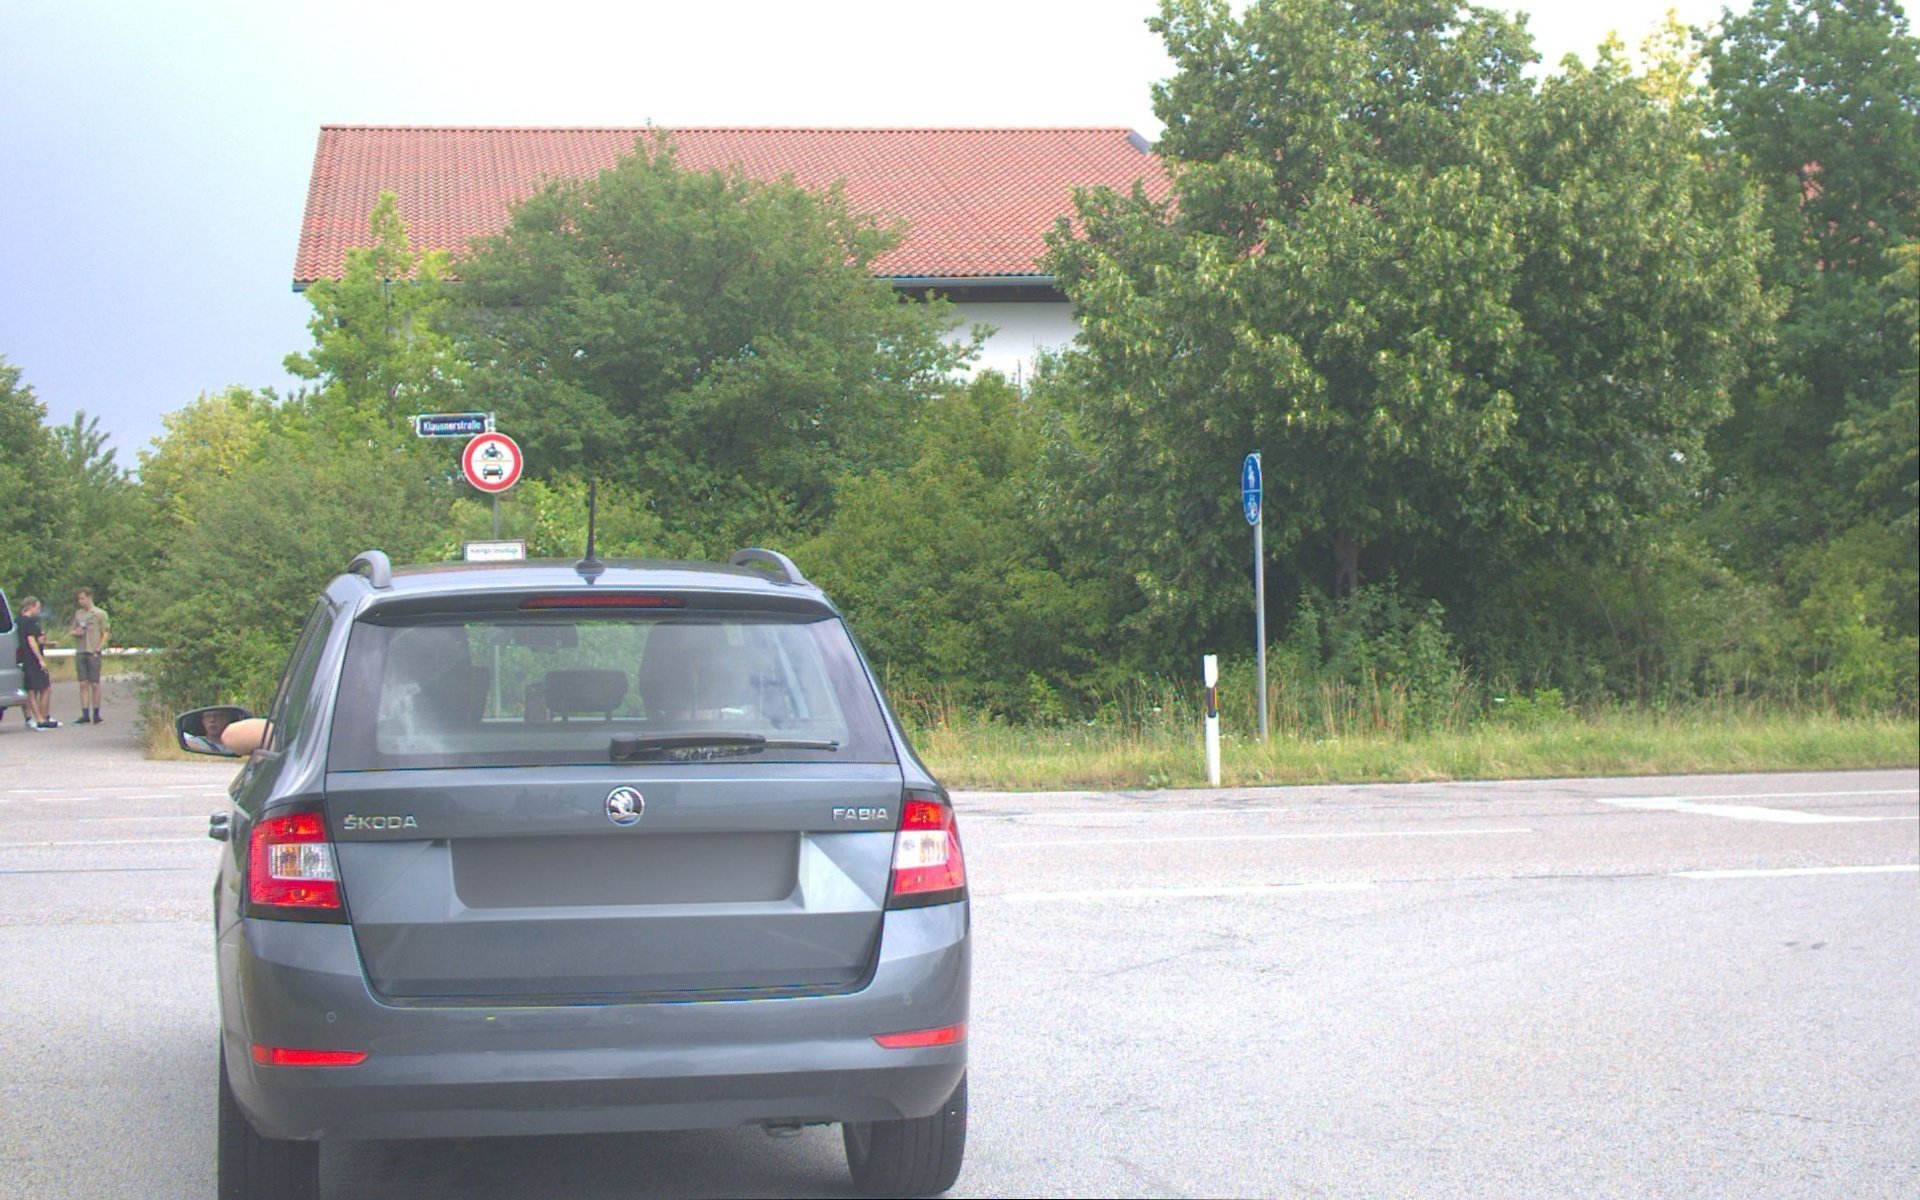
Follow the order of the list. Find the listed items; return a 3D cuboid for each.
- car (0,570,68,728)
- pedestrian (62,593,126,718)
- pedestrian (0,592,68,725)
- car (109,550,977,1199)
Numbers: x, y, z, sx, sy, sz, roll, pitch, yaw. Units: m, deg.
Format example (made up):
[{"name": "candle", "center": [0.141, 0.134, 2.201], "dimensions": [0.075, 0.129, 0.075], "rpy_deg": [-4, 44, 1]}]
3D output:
[{"name": "car", "center": [-14.557, 0.675, 45.829], "dimensions": [4.907, 2.006, 2.338], "rpy_deg": [-1, 2, 31]}, {"name": "pedestrian", "center": [-11.868, 0.752, 47.125], "dimensions": [0.584, 1.677, 0.565], "rpy_deg": [-1, 2, 18]}, {"name": "pedestrian", "center": [-12.238, 0.764, 45.390], "dimensions": [0.529, 1.720, 0.640], "rpy_deg": [-1, 2, 30]}, {"name": "car", "center": [-1.052, 0.622, 8.562], "dimensions": [1.676, 1.458, 3.708], "rpy_deg": [0, 0, -8]}]
